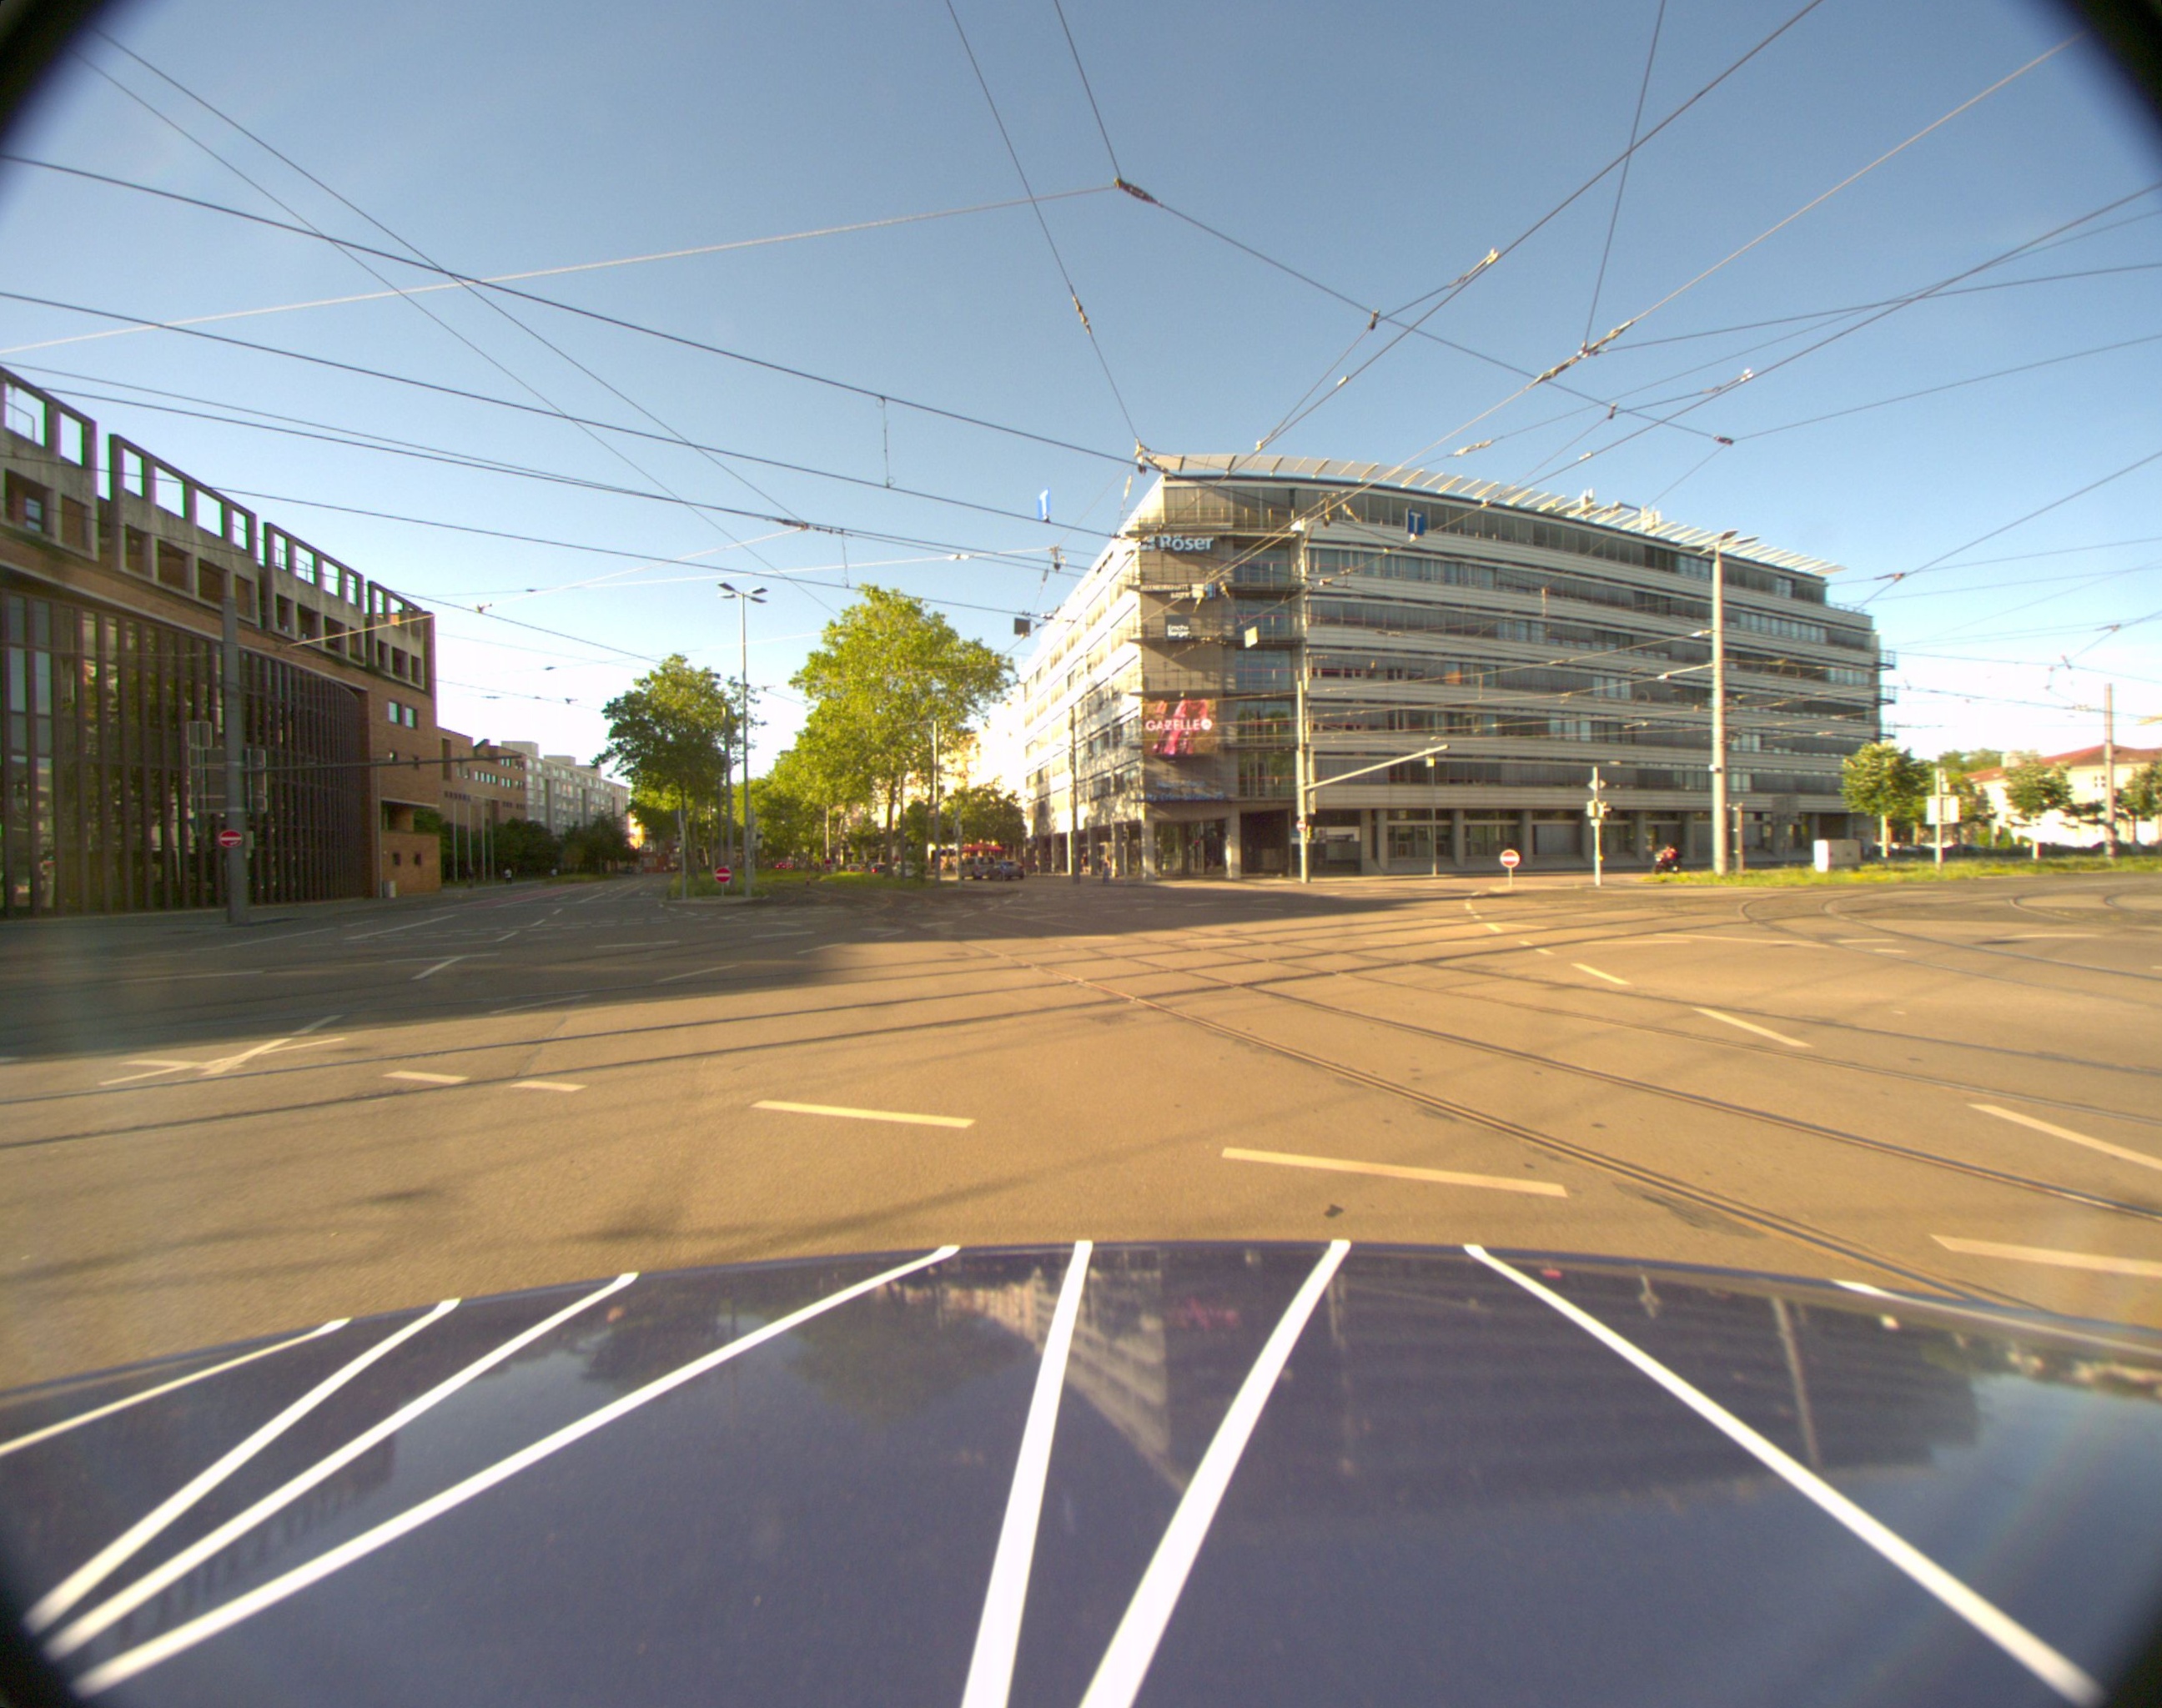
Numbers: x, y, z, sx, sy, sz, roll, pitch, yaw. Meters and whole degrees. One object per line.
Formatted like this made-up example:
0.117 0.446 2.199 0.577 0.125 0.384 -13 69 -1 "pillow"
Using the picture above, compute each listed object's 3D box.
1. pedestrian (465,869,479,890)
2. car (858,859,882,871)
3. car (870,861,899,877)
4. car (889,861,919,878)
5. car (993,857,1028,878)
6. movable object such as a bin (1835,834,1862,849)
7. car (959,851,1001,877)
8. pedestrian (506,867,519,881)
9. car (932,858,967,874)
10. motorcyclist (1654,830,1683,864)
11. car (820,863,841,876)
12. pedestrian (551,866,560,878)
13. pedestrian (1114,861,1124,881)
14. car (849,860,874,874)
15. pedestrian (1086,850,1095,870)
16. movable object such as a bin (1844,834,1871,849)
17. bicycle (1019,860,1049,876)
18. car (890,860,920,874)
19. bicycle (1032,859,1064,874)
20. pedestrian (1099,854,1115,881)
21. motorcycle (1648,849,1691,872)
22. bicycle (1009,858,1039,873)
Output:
-49.339 2.062 61.513 0.814 1.596 0.685 -2 1 -41 "pedestrian"
-27.385 1.418 98.613 1.870 1.466 3.968 -2 0 -34 "car"
-19.073 1.464 73.658 1.870 1.466 3.969 -2 0 -28 "car"
-14.453 1.255 61.878 1.669 1.380 3.529 0 -1 -26 "car"
-5.342 0.977 57.292 1.868 1.466 3.972 -2 0 -16 "car"
67.982 -1.107 67.295 1.330 1.293 1.172 -2 0 -18 "movable object such as a bin"
-8.258 0.819 62.031 1.870 2.004 4.448 -2 0 -29 "car"
-54.483 1.919 72.821 0.813 1.376 0.686 -2 1 -26 "pedestrian"
-12.880 1.154 74.442 1.870 1.466 3.968 -2 0 -34 "car"
32.767 -0.368 42.355 1.113 1.847 0.820 -2 1 -21 "motorcyclist"
-31.773 1.948 96.218 1.703 1.466 3.972 -2 0 -31 "car"
-63.145 2.134 91.294 0.813 1.376 0.686 -2 1 -26 "pedestrian"
2.294 1.043 46.378 0.443 1.203 0.461 -1 0 -22 "pedestrian"
-24.058 1.477 83.124 1.703 1.431 4.010 -2 0 -30 "car"
0.807 0.526 65.421 0.587 1.723 0.793 -2 -1 -10 "pedestrian"
69.127 -1.106 67.662 1.330 1.293 1.172 -2 0 -18 "movable object such as a bin"
-3.796 1.110 61.362 2.399 1.206 0.773 -1 -1 -36 "bicycle"
-19.403 1.470 83.505 1.870 1.466 3.968 -2 0 -34 "car"
-2.594 0.994 60.347 2.396 1.206 0.774 -1 -1 -15 "bicycle"
1.597 0.848 46.518 0.662 1.630 0.792 -1 0 -22 "pedestrian"
32.819 0.335 42.384 2.257 1.214 0.820 -2 1 -21 "motorcycle"
-4.821 1.002 64.310 2.399 1.206 0.773 -1 -1 -36 "bicycle"
